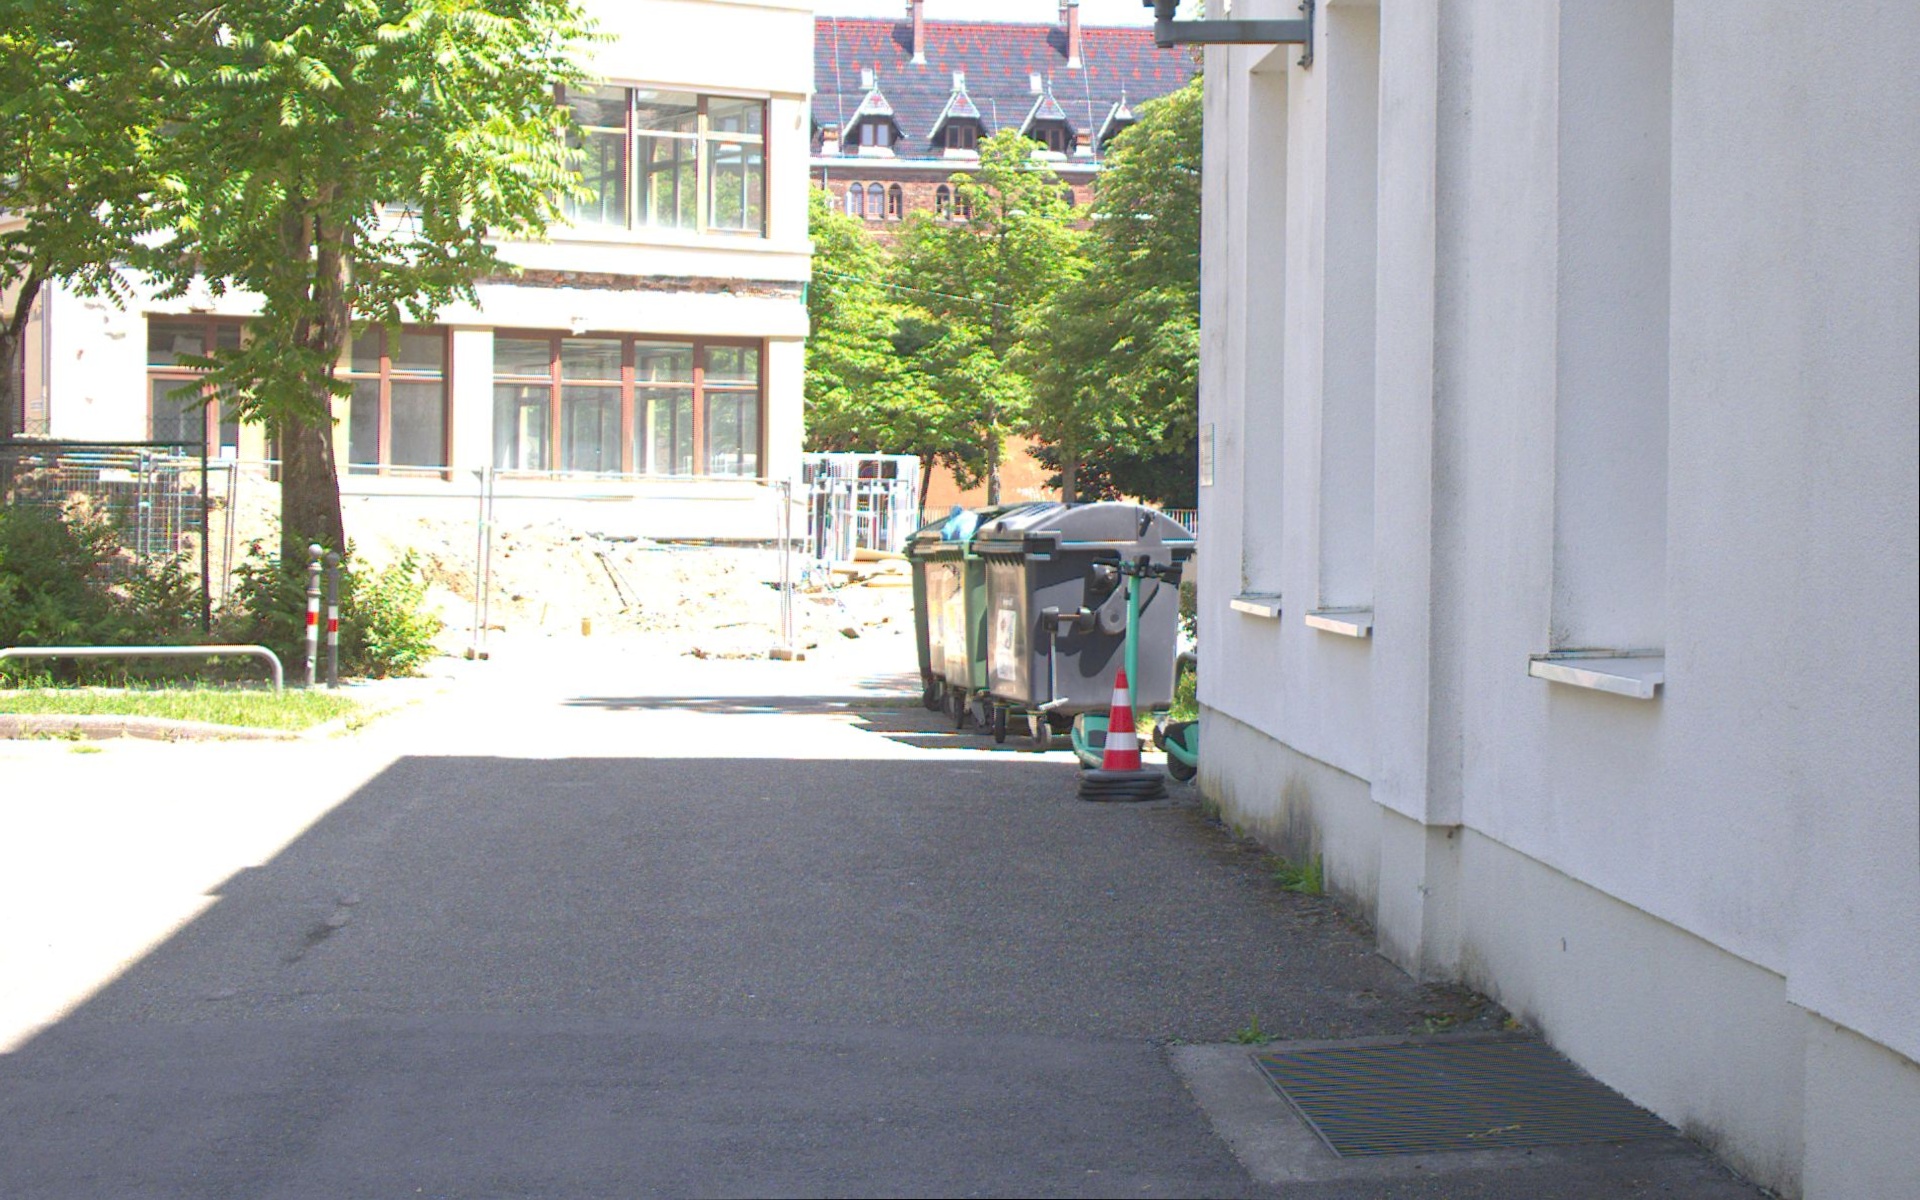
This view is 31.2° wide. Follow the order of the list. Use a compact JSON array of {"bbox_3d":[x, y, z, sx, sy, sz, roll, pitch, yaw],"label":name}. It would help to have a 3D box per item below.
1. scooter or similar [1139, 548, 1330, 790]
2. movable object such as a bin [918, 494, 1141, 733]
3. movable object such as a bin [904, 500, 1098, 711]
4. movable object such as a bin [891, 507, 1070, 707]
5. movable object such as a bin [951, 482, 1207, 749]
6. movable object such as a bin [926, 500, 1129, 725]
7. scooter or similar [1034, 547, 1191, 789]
[{"bbox_3d":[1.374,0.325,17.399,0.463,1.170,1.256,0,1,-21],"label":"scooter or similar"},{"bbox_3d":[0.425,0.082,21.915,1.178,1.465,1.312,1,0,-9],"label":"movable object such as a bin"},{"bbox_3d":[0.281,0.036,24.737,1.178,1.465,1.312,1,0,-9],"label":"movable object such as a bin"},{"bbox_3d":[0.169,0.046,26.273,1.179,1.465,1.332,1,0,8],"label":"movable object such as a bin"},{"bbox_3d":[0.679,0.087,20.191,1.154,1.500,1.463,1,0,-12],"label":"movable object such as a bin"},{"bbox_3d":[0.442,0.076,23.303,1.178,1.465,1.312,1,0,-7],"label":"movable object such as a bin"},{"bbox_3d":[0.760,0.323,17.463,0.463,1.170,1.357,0,1,-12],"label":"scooter or similar"}]
